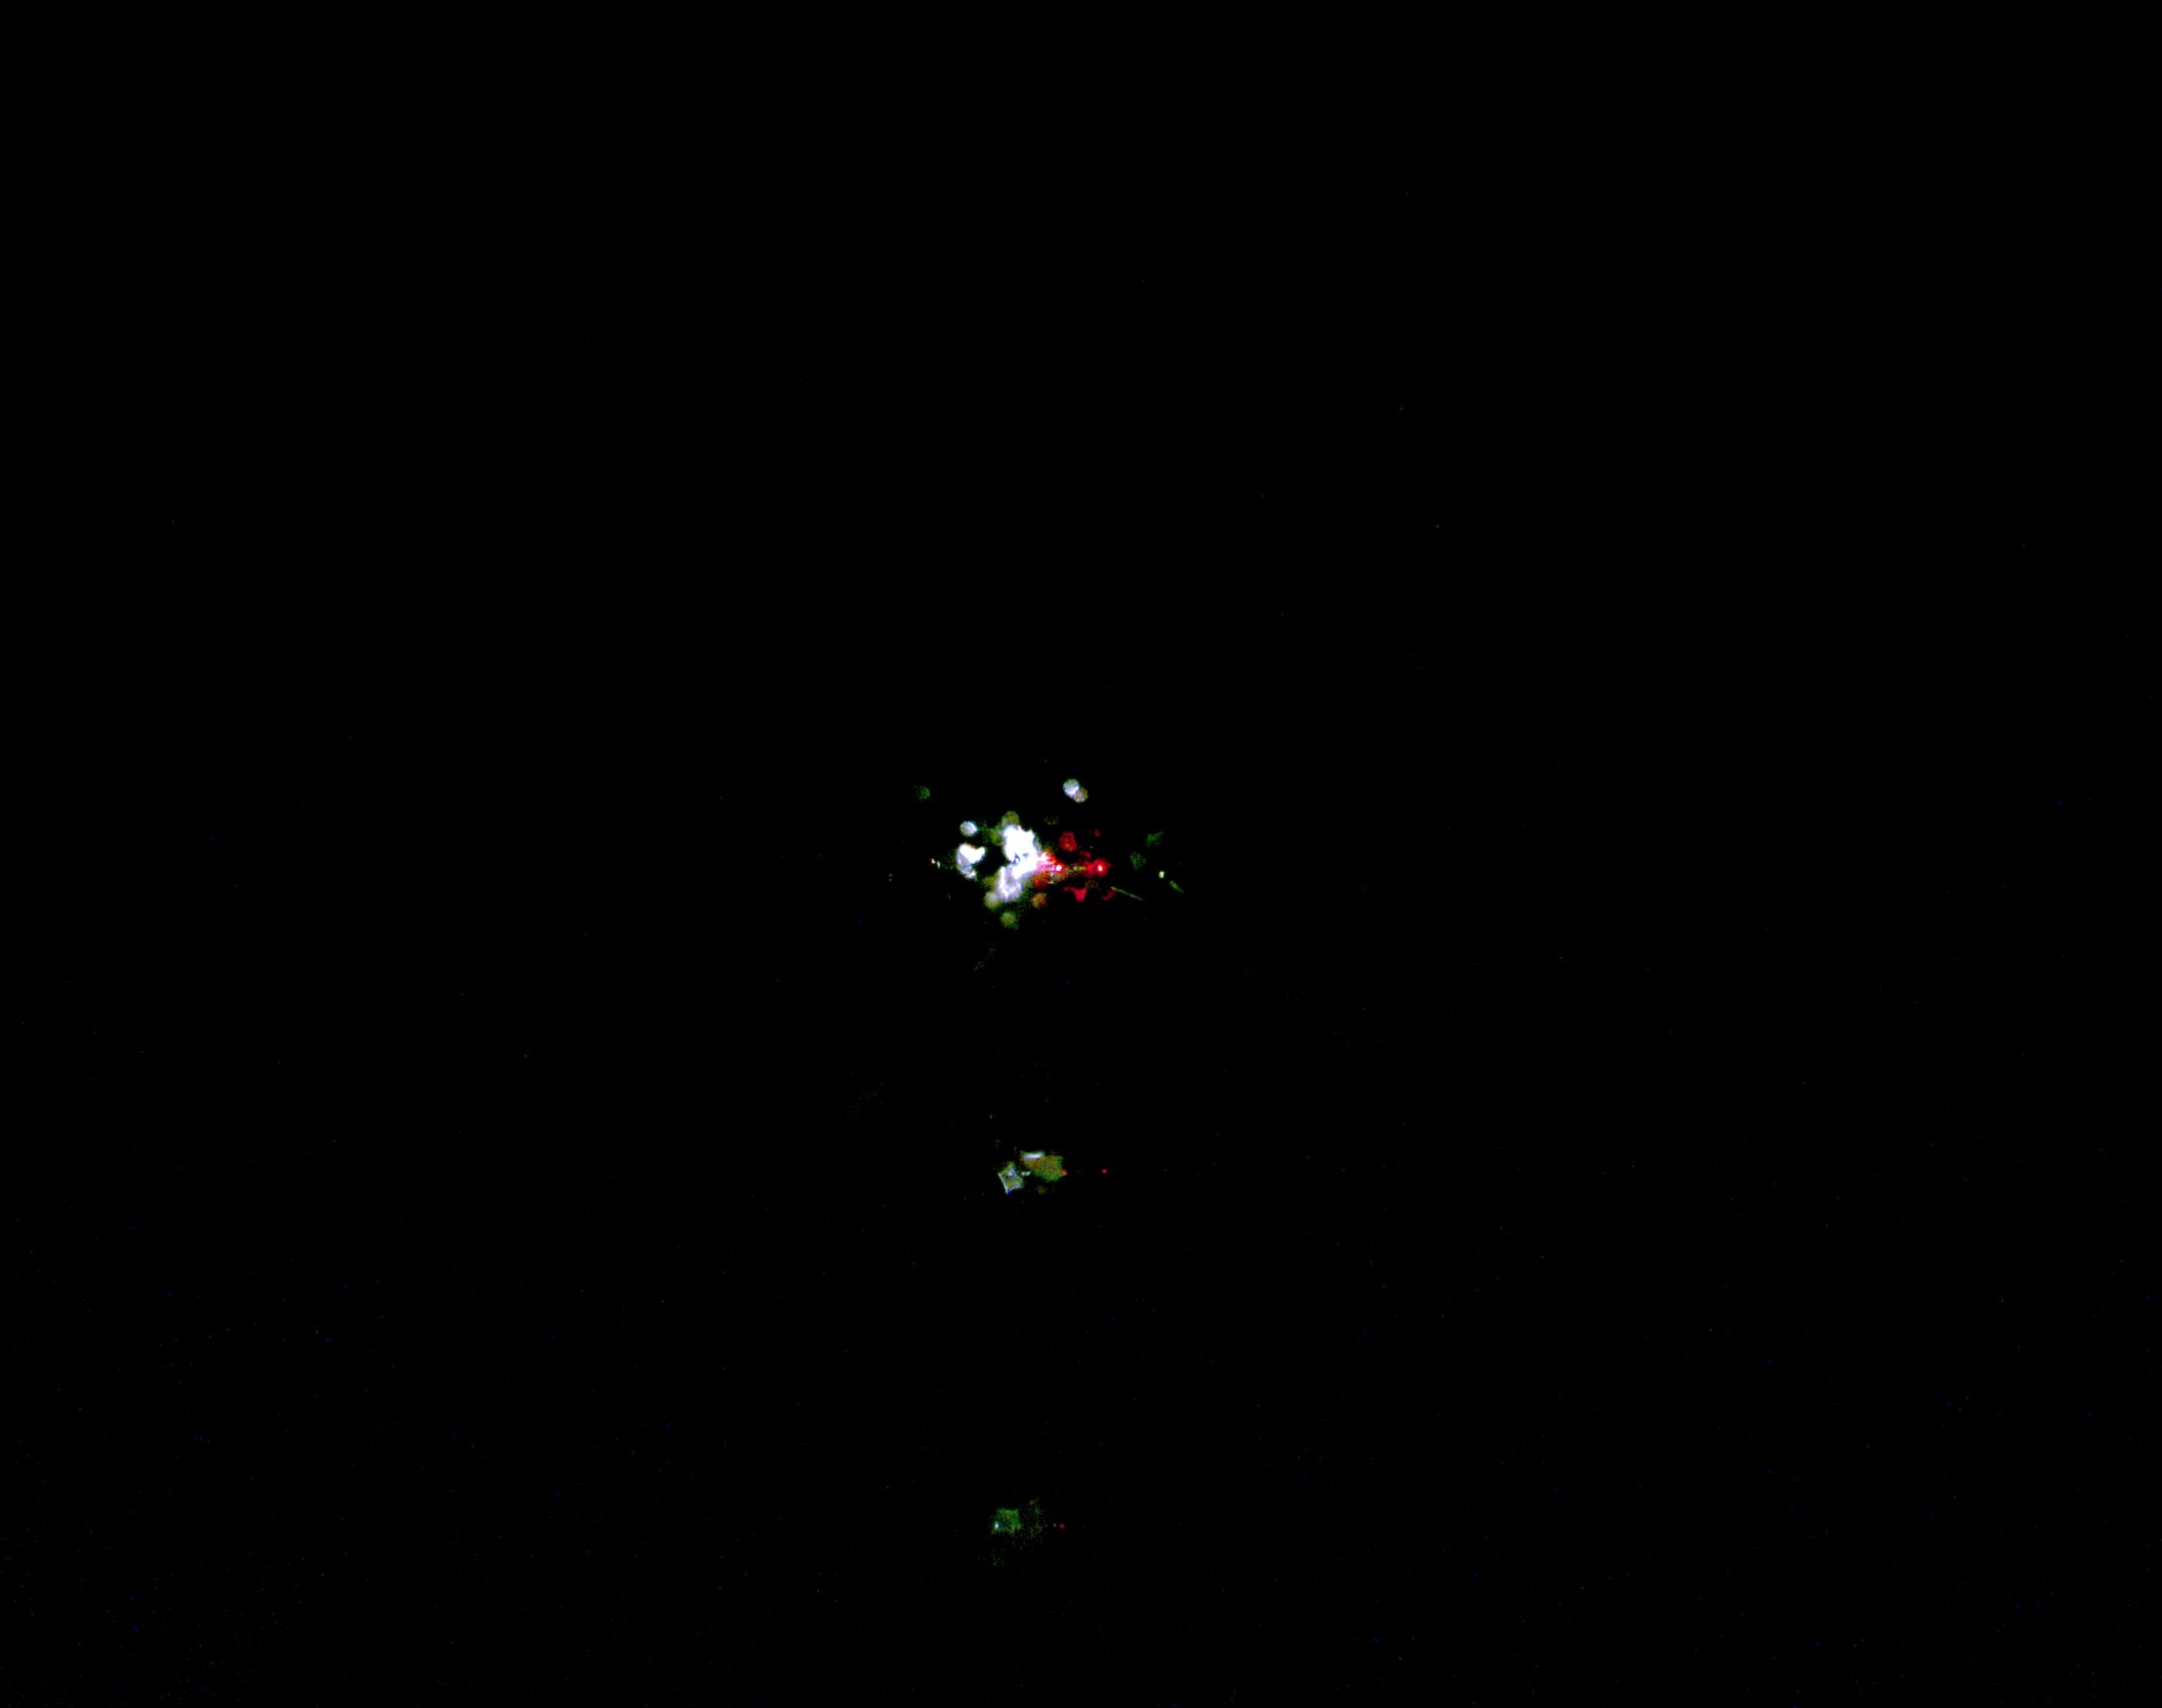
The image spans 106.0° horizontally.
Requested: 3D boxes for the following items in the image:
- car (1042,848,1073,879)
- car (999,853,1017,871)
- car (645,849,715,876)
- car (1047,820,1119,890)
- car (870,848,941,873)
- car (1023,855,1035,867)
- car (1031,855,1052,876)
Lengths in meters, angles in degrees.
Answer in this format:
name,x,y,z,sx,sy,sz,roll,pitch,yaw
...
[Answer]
name,x,y,z,sx,sy,sz,roll,pitch,yaw
car,-1.678,0.706,56.735,1.989,2.014,3.994,2,-3,-3
car,-7.362,0.800,82.559,1.751,1.734,3.994,2,1,-5
car,-28.020,0.558,56.920,4.181,1.687,1.676,-2,-1,-34
car,0.028,0.021,32.314,2.531,2.498,5.712,-1,0,-1
car,-12.869,0.466,59.988,4.906,1.734,1.996,-1,0,-7
car,-8.609,1.147,133.950,1.889,1.910,3.788,2,-1,-5
car,-3.451,1.017,71.913,1.736,1.714,3.695,2,-3,-2
